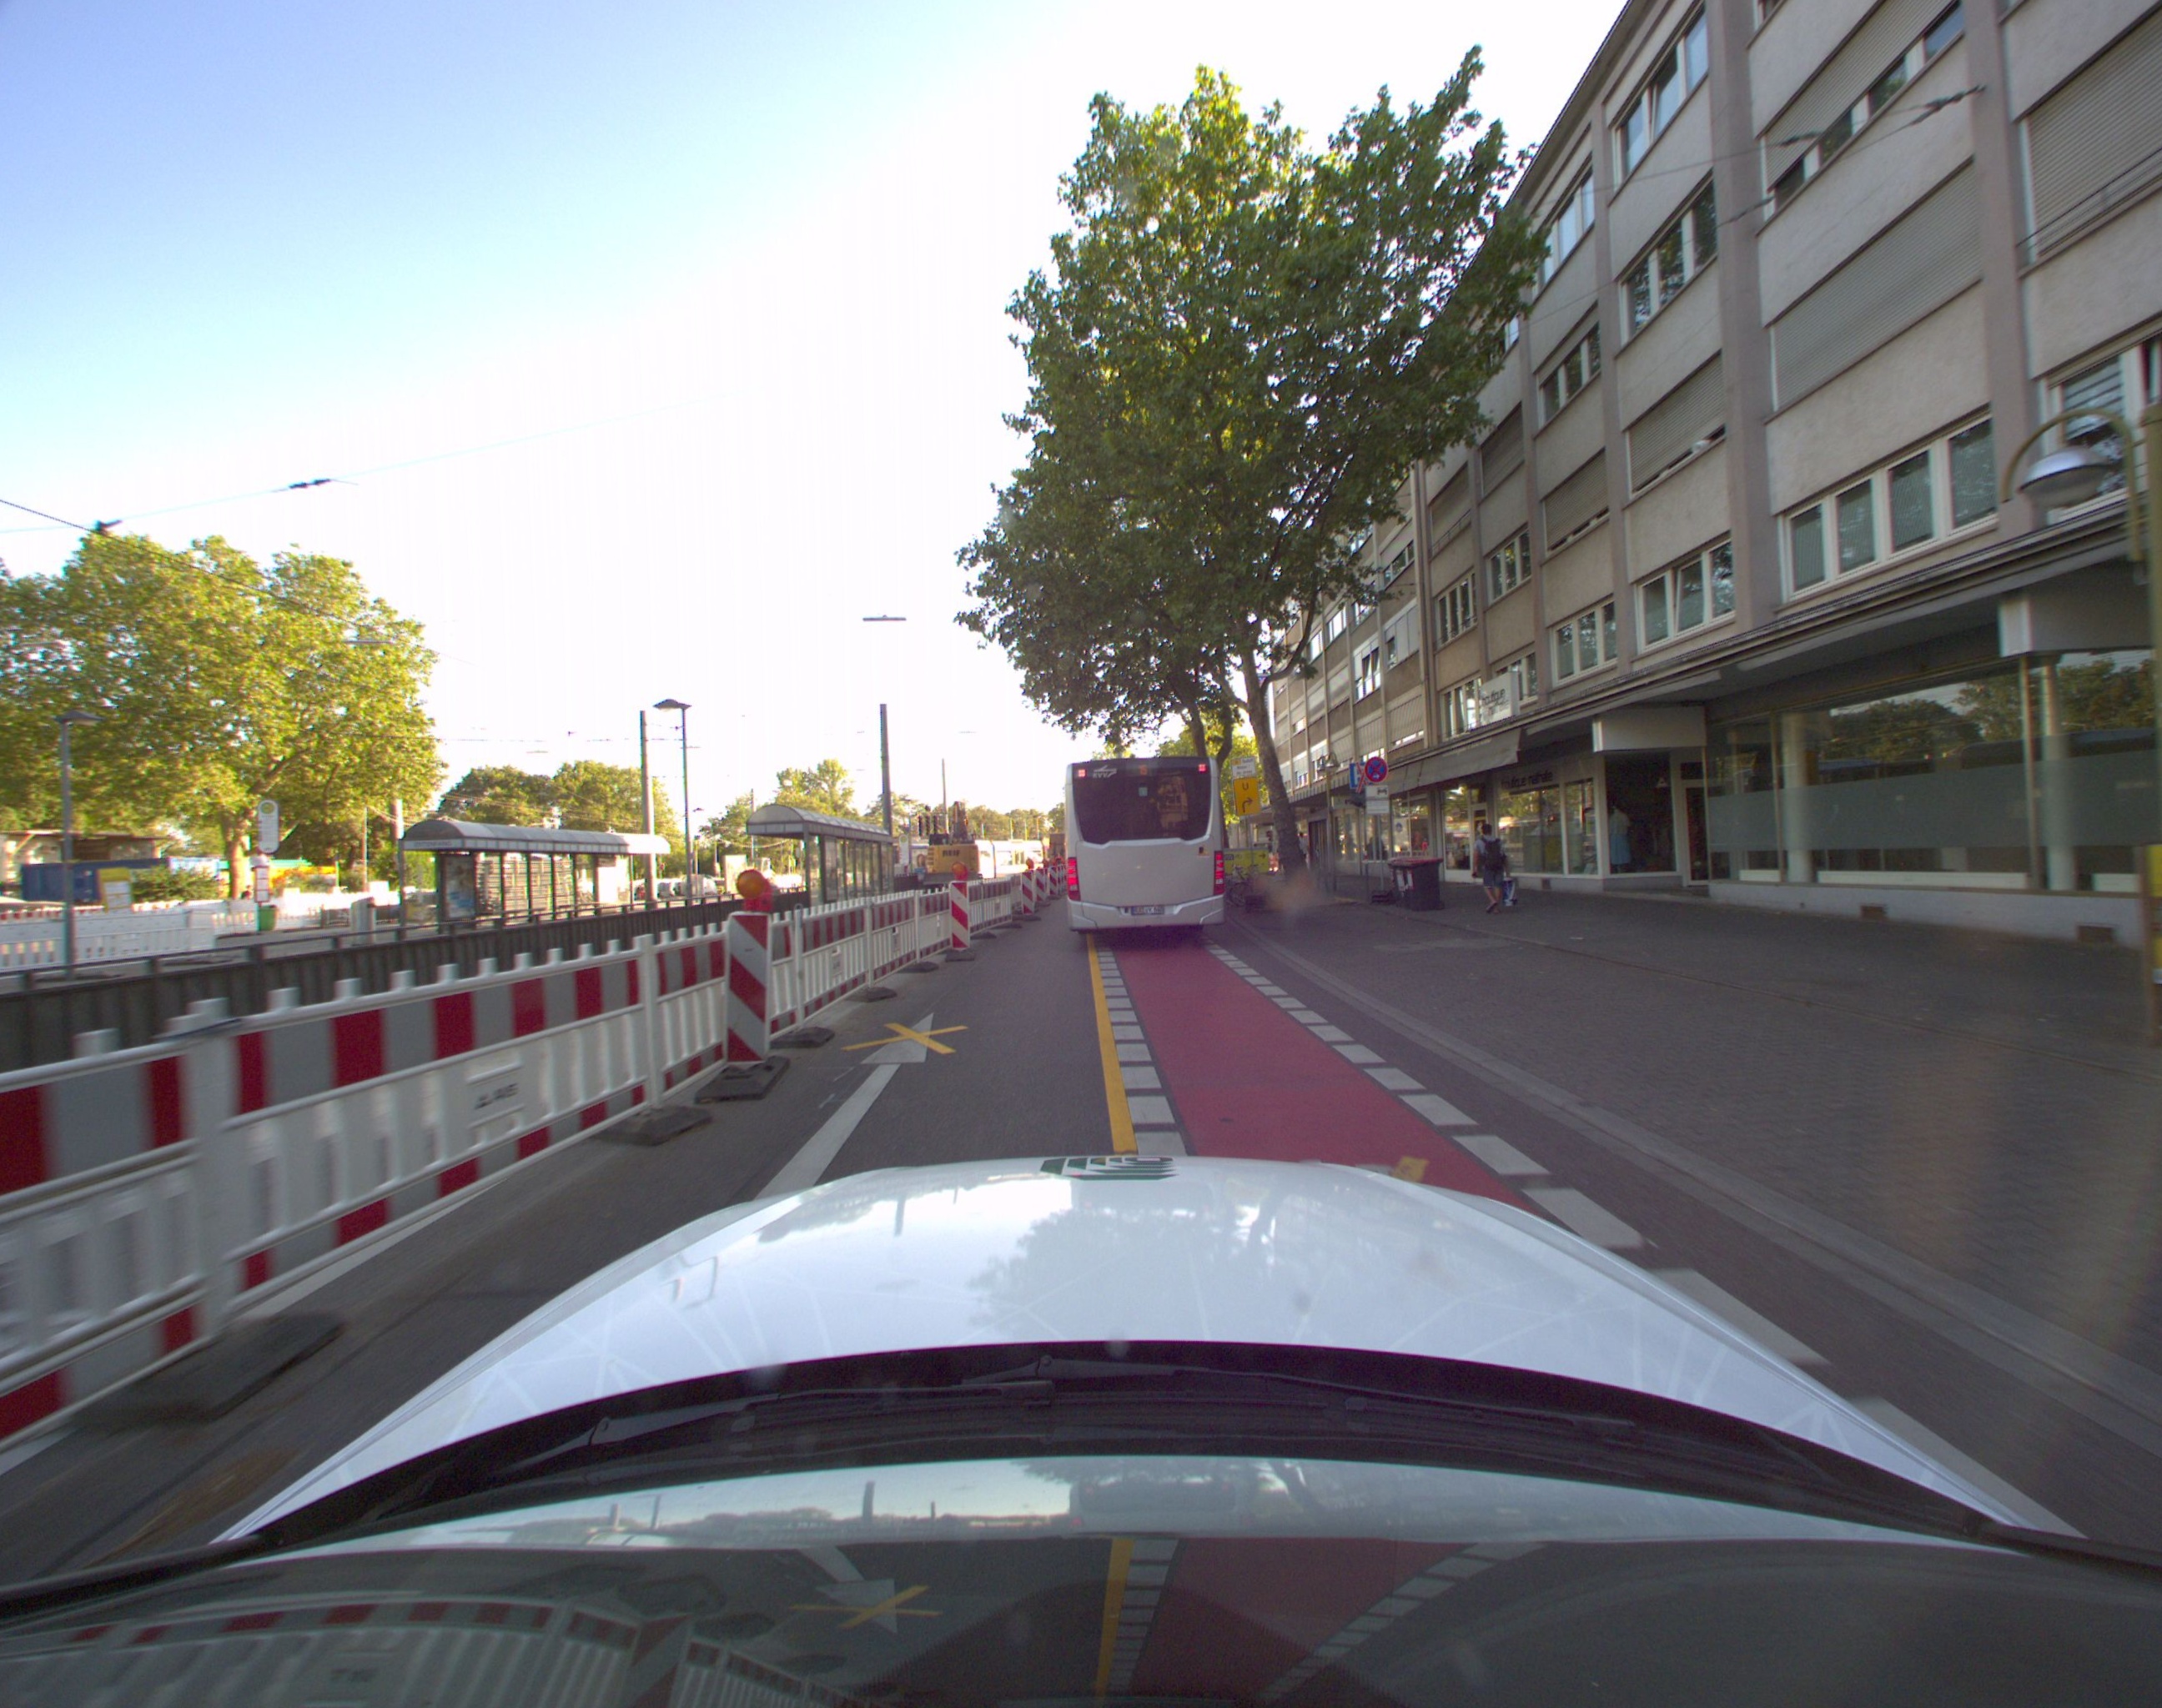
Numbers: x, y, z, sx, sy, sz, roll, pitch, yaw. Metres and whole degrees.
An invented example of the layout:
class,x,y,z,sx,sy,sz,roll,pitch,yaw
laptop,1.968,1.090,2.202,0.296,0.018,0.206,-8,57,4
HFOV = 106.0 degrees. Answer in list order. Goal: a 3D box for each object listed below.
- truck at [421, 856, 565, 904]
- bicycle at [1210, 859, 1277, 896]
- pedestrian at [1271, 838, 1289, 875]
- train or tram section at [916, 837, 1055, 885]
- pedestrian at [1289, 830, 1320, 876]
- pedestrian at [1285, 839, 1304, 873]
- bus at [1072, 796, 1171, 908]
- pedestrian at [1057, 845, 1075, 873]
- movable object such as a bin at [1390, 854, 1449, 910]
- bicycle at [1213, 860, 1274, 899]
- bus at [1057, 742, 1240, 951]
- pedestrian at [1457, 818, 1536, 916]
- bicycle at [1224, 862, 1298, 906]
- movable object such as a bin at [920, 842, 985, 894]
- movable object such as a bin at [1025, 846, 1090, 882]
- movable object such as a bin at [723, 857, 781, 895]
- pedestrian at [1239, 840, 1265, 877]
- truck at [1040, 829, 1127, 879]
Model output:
class,x,y,z,sx,sy,sz,roll,pitch,yaw
truck,-51.999,2.269,72.178,10.371,3.790,2.899,-2,-1,-2
bicycle,5.302,0.769,26.685,1.981,1.058,0.770,-4,-1,-2
pedestrian,9.611,0.118,39.380,0.581,1.708,0.679,-5,0,1
train or tram section,-7.589,0.485,67.926,2.822,3.533,13.482,-3,-1,37
pedestrian,9.681,-0.034,35.318,0.835,1.869,1.100,-7,-1,1
pedestrian,10.309,0.077,39.325,0.630,1.573,0.774,-5,0,1
bus,1.207,-0.033,27.722,2.699,3.107,8.980,-2,0,1
pedestrian,-1.128,0.345,61.134,0.927,2.013,1.007,-2,1,26
movable object such as a bin,7.028,0.558,16.964,0.671,1.075,1.228,-5,0,2
bicycle,5.026,0.788,25.286,1.706,1.058,0.644,-4,0,3
bus,1.102,-0.113,17.895,2.724,3.139,10.703,-2,0,1
pedestrian,7.601,0.228,14.934,0.840,1.673,0.990,-4,0,1
bicycle,4.789,0.789,21.707,1.784,1.022,0.643,-4,0,-2
movable object such as a bin,-6.200,0.649,39.885,2.638,2.317,4.894,-2,0,-4
movable object such as a bin,-1.492,0.621,54.855,1.975,2.256,5.240,-1,0,28
movable object such as a bin,-24.232,1.567,60.172,2.142,2.639,4.603,-3,0,3
pedestrian,8.390,0.209,40.004,0.896,1.710,1.071,-5,0,1
truck,0.367,-0.061,64.041,2.785,3.541,9.038,-3,0,28
